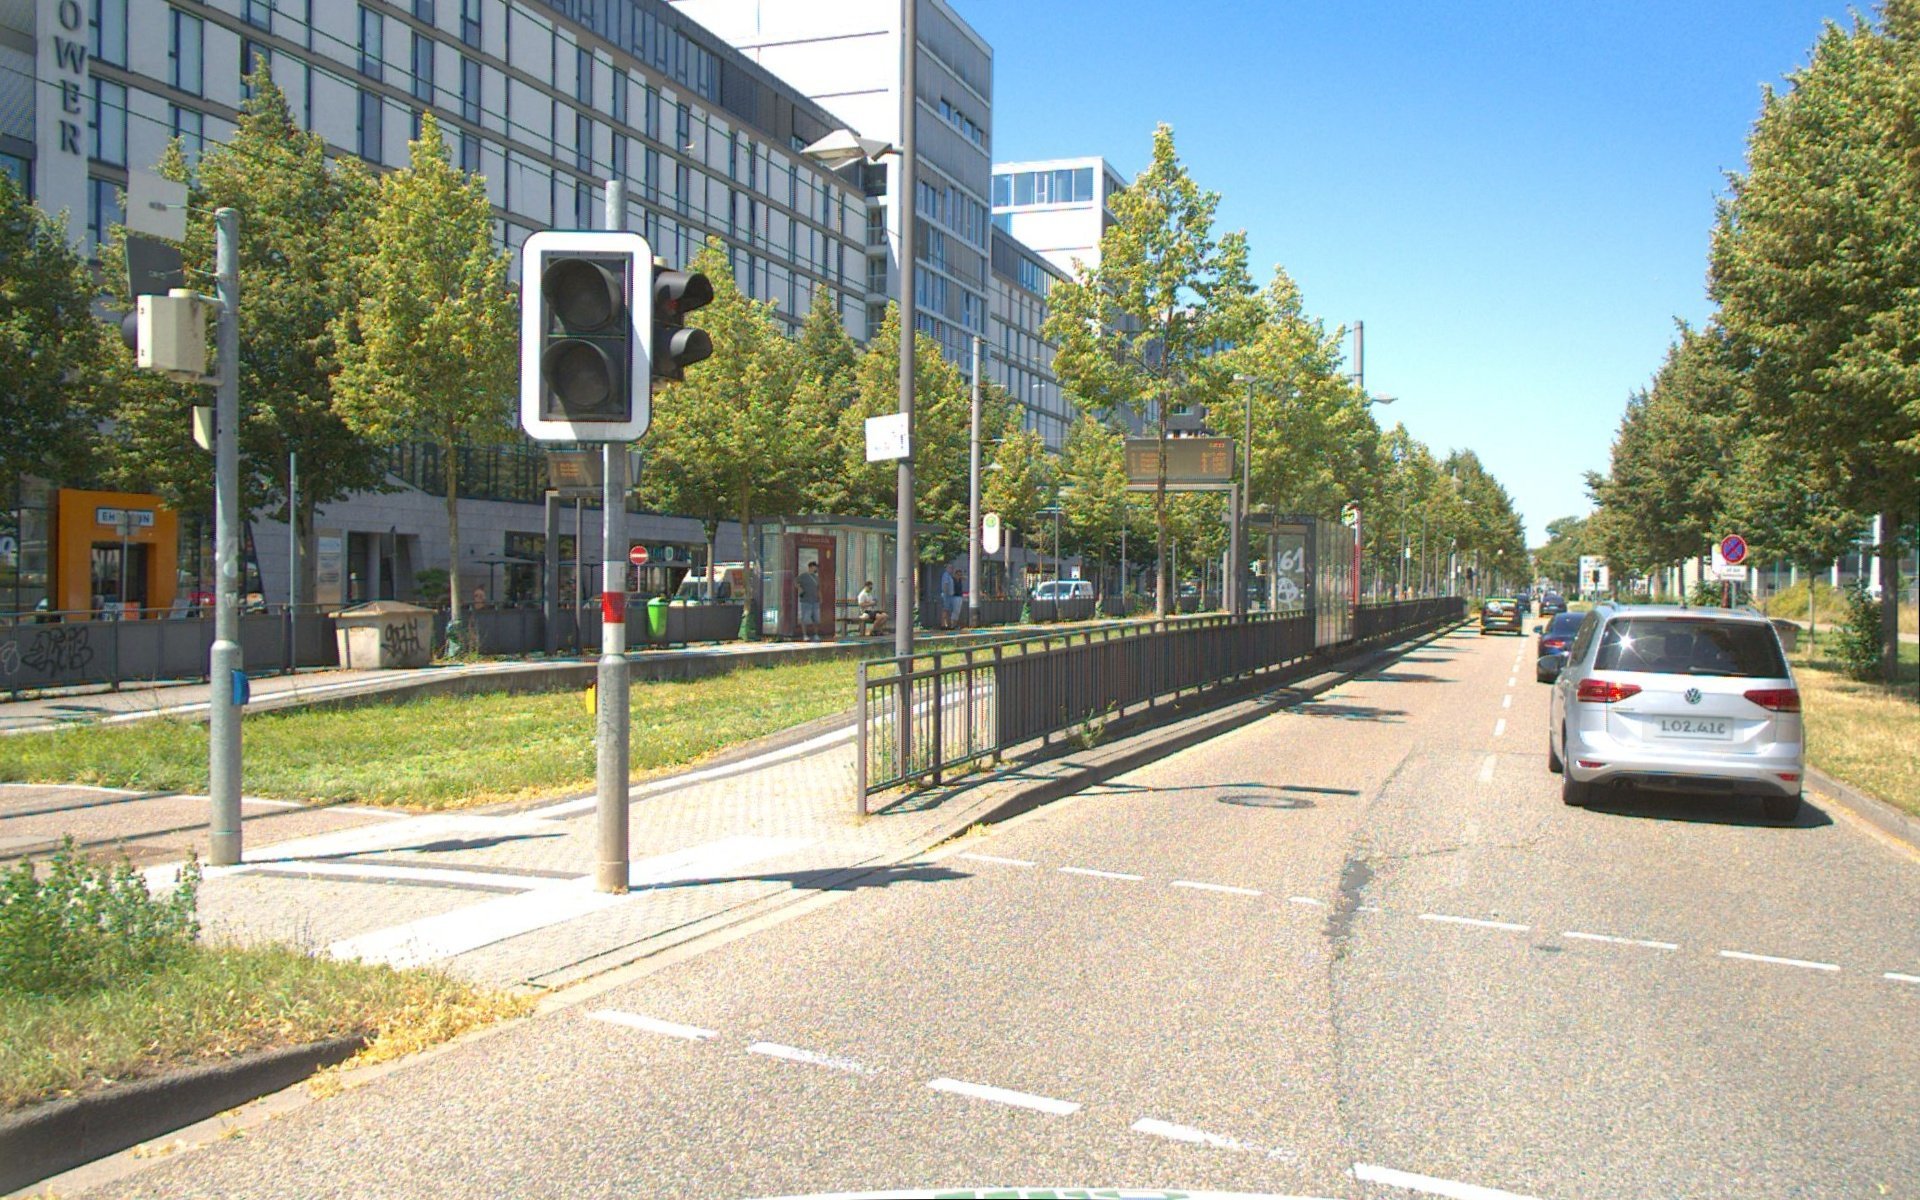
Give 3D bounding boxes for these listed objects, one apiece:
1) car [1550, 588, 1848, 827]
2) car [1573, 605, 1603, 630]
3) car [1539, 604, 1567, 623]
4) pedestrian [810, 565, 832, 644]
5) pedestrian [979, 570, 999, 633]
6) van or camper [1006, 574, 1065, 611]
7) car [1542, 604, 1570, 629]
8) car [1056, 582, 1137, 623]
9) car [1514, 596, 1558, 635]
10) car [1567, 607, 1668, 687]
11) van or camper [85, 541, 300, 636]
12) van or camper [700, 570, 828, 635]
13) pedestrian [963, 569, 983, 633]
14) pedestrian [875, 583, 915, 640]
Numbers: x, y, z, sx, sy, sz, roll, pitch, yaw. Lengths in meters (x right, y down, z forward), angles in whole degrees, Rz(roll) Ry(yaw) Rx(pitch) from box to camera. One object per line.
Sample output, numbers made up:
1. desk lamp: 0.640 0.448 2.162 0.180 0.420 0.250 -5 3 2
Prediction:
1. car: 6.212 0.796 14.396 1.763 1.677 4.607 2 0 17
2. car: 42.847 1.193 112.900 1.729 1.655 3.717 1 0 19
3. car: 47.731 1.077 133.154 1.823 1.490 4.002 -1 -1 16
4. pedestrian: -3.142 0.108 37.284 0.456 1.769 0.477 1 0 -8
5. pedestrian: 0.825 0.033 47.001 0.401 1.782 0.586 1 0 17
6. van or camper: 3.145 -0.312 68.041 1.445 1.452 3.429 1 0 20
7. car: 41.157 1.118 114.227 1.729 1.655 3.717 1 0 19
8. car: 6.382 0.098 76.608 2.411 1.837 5.071 1 0 21
9. car: 23.130 0.626 66.386 1.585 1.477 3.987 0 -1 20
10. car: 13.599 0.921 34.393 1.813 1.461 4.956 1 1 20
11. van or camper: -24.657 -0.338 53.543 2.325 2.871 6.790 1 0 18
12. van or camper: -7.599 0.079 65.006 2.132 2.428 6.773 1 0 20
13. pedestrian: 0.372 0.028 46.404 0.401 1.782 0.586 1 0 17
14. pedestrian: -1.636 0.291 41.900 0.817 1.438 0.642 1 0 20
